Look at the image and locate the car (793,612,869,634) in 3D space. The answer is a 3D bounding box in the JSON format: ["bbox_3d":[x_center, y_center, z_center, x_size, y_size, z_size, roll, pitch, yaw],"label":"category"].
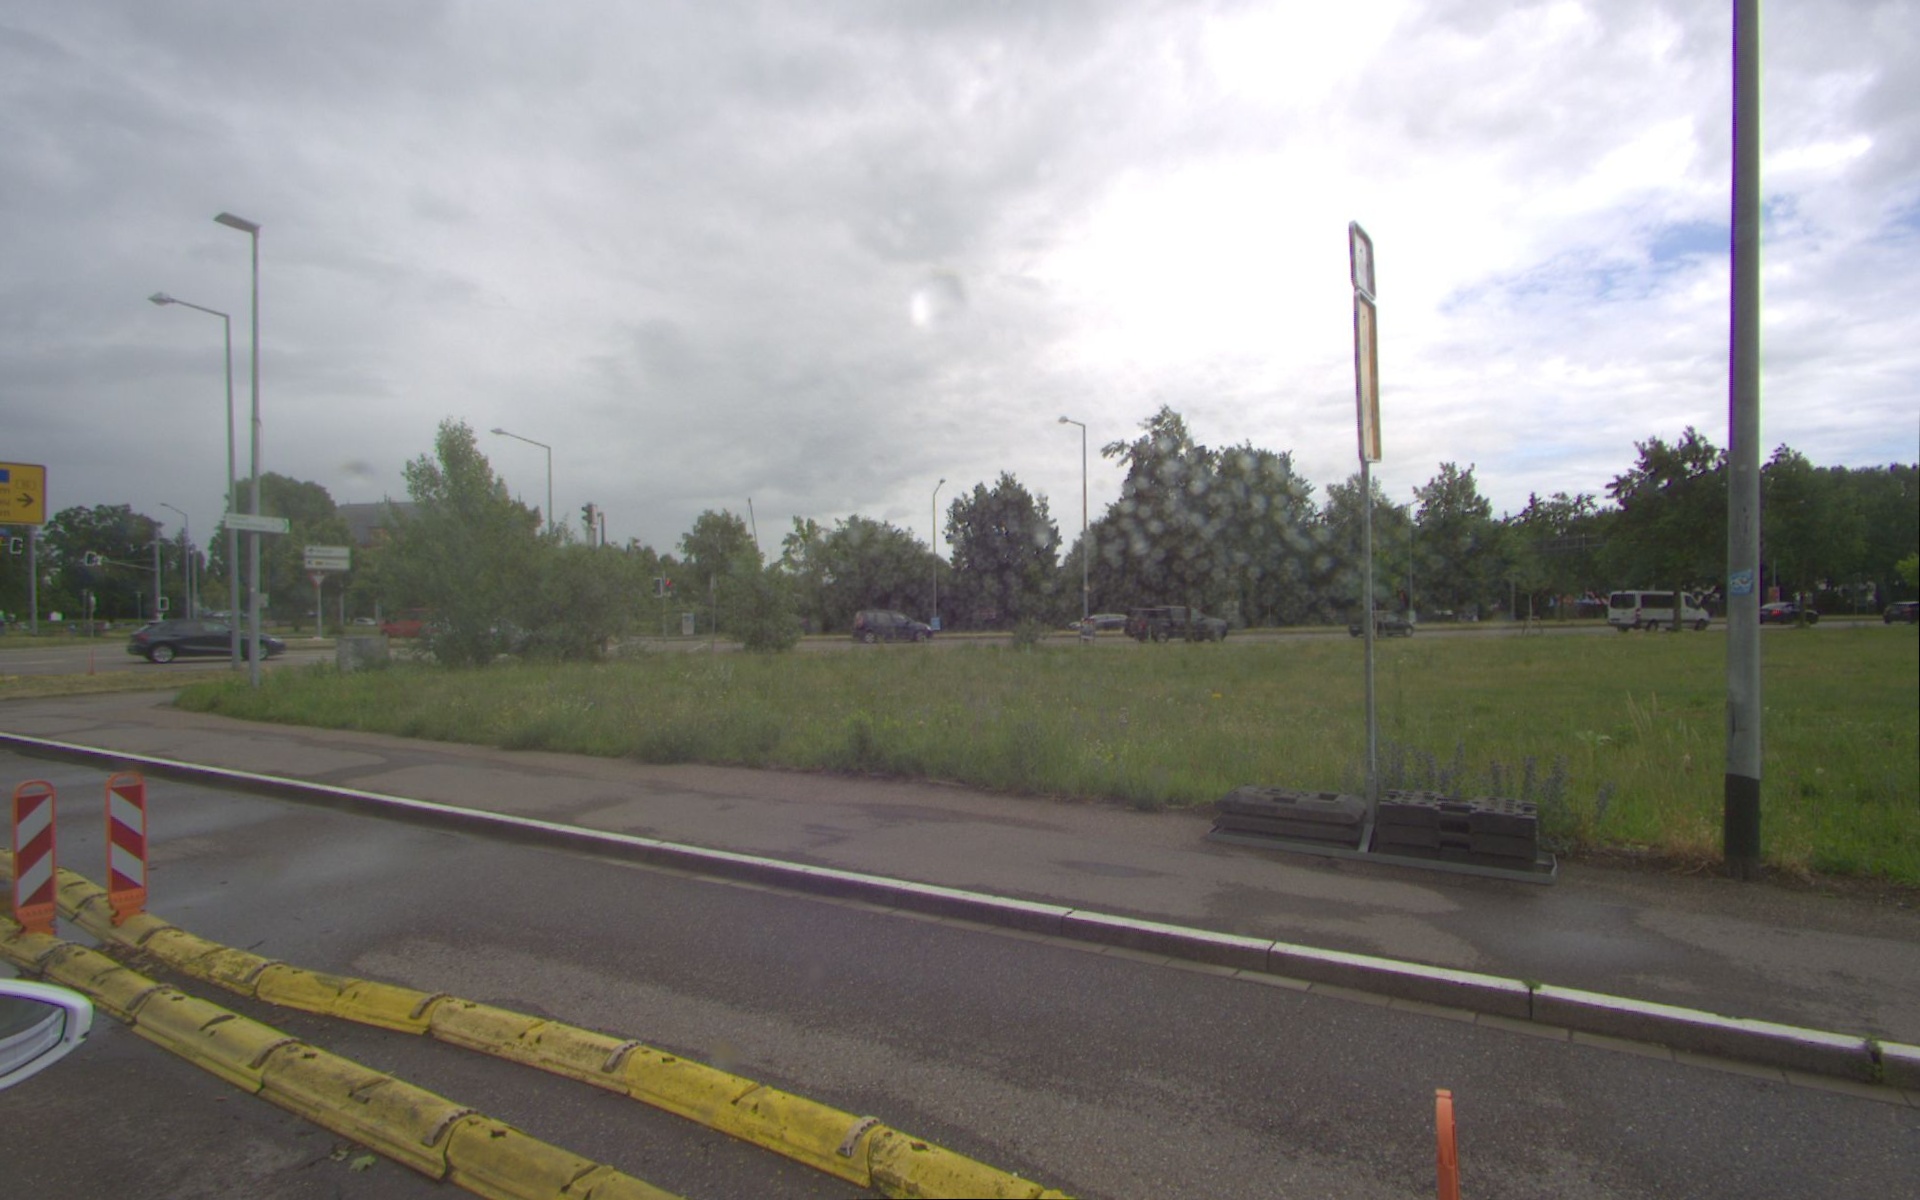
[{"bbox_3d":[-8.143,1.455,63.048,4.667,1.314,1.998,0,0,-12],"label":"car"}]

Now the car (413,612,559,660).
[{"bbox_3d":[-17.220,1.259,36.501,4.483,1.604,1.982,0,0,-41],"label":"car"}]

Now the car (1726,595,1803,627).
[{"bbox_3d":[52.603,0.683,65.521,3.928,2.040,1.997,0,0,-15],"label":"car"}]

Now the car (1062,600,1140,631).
[{"bbox_3d":[9.540,1.038,67.857,4.849,2.040,1.998,0,0,-12],"label":"car"}]

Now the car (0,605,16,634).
[{"bbox_3d":[-68.819,1.360,69.416,4.400,2.040,1.996,0,0,-18],"label":"car"}]

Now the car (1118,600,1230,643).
[{"bbox_3d":[10.422,0.996,48.738,4.957,1.998,2.218,0,0,-21],"label":"car"}]

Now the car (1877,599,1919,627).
[{"bbox_3d":[64.138,0.861,66.785,4.522,1.819,2.114,0,0,-11],"label":"car"}]

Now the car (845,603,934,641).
[{"bbox_3d":[-3.570,1.096,50.634,4.134,1.837,2.074,0,0,-18],"label":"car"}]

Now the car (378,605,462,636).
[{"bbox_3d":[-34.738,1.295,64.436,4.804,1.943,2.111,0,0,19],"label":"car"}]

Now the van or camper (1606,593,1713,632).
[{"bbox_3d":[39.580,0.686,56.707,5.453,2.143,1.997,0,0,-16],"label":"van or camper"}]

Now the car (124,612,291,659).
[{"bbox_3d":[-25.762,1.164,34.378,1.977,1.483,4.286,0,0,41],"label":"car"}]

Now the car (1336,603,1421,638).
[{"bbox_3d":[23.024,1.096,55.183,3.927,1.873,1.997,0,0,-14],"label":"car"}]

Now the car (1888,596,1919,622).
[{"bbox_3d":[68.609,0.638,70.915,4.525,1.819,2.112,0,0,-15],"label":"car"}]
